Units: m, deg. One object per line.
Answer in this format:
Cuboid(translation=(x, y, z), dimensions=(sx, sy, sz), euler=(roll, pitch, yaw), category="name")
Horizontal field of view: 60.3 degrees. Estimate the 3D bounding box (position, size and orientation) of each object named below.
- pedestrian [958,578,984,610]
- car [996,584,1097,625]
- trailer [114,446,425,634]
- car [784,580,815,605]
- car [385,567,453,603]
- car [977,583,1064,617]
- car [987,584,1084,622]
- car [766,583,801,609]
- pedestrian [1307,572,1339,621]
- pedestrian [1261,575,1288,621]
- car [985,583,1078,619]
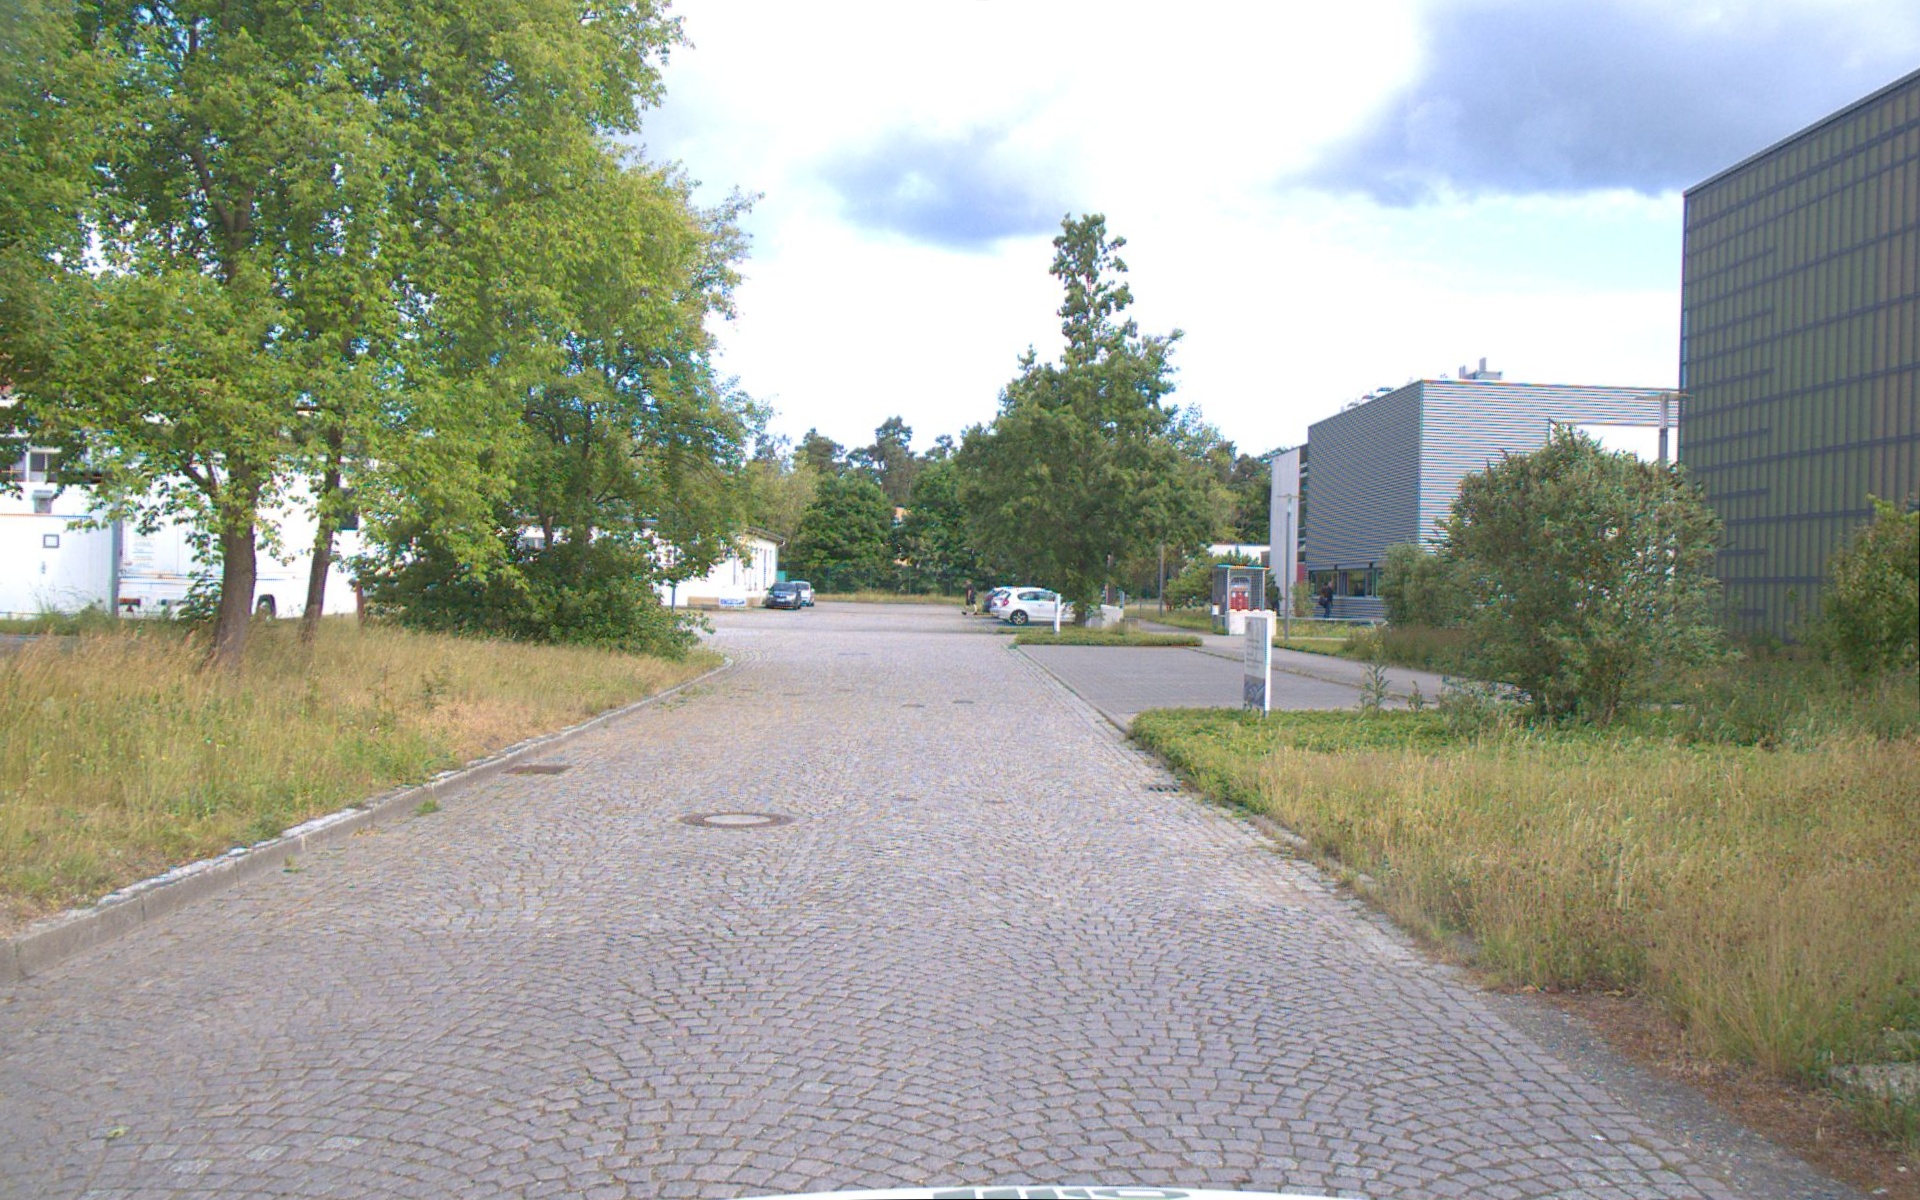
Cuboid(translation=(0.555, -0.287, 83.751), dimensions=(0.936, 1.595, 0.955), euler=(1, 0, -45), category="pedestrian")
Cuboid(translation=(3.444, 0.179, 66.618), dimensions=(3.906, 1.481, 1.999), euler=(2, 0, -1), category="car")
Cuboid(translation=(-15.723, -1.254, 38.873), dimensions=(2.602, 3.770, 10.723), euler=(1, 0, 1), category="trailer")
Cuboid(translation=(-9.751, -0.473, 100.455), dimensions=(1.714, 1.480, 3.997), euler=(1, 0, -4), category="car")
Cuboid(translation=(-25.415, -0.705, 77.892), dimensions=(1.862, 1.602, 4.000), euler=(1, 0, 0), category="car")
Cuboid(translation=(2.794, -0.002, 76.714), dimensions=(3.906, 1.481, 1.769), euler=(1, 0, -1), category="car")
Cuboid(translation=(3.103, 0.109, 68.778), dimensions=(3.906, 1.481, 1.697), euler=(1, 0, -1), category="car")
Cuboid(translation=(-9.624, -0.226, 90.227), dimensions=(1.714, 1.387, 3.997), euler=(1, 0, -4), category="car")
Cuboid(translation=(14.783, -0.143, 67.310), dimensions=(0.908, 1.970, 0.846), euler=(1, 0, -32), category="pedestrian")
Cuboid(translation=(14.347, -0.092, 75.514), dimensions=(0.903, 2.049, 1.145), euler=(1, 0, -7), category="pedestrian")
Cuboid(translation=(3.088, 0.035, 71.818), dimensions=(3.906, 1.481, 1.769), euler=(1, 0, -1), category="car")
